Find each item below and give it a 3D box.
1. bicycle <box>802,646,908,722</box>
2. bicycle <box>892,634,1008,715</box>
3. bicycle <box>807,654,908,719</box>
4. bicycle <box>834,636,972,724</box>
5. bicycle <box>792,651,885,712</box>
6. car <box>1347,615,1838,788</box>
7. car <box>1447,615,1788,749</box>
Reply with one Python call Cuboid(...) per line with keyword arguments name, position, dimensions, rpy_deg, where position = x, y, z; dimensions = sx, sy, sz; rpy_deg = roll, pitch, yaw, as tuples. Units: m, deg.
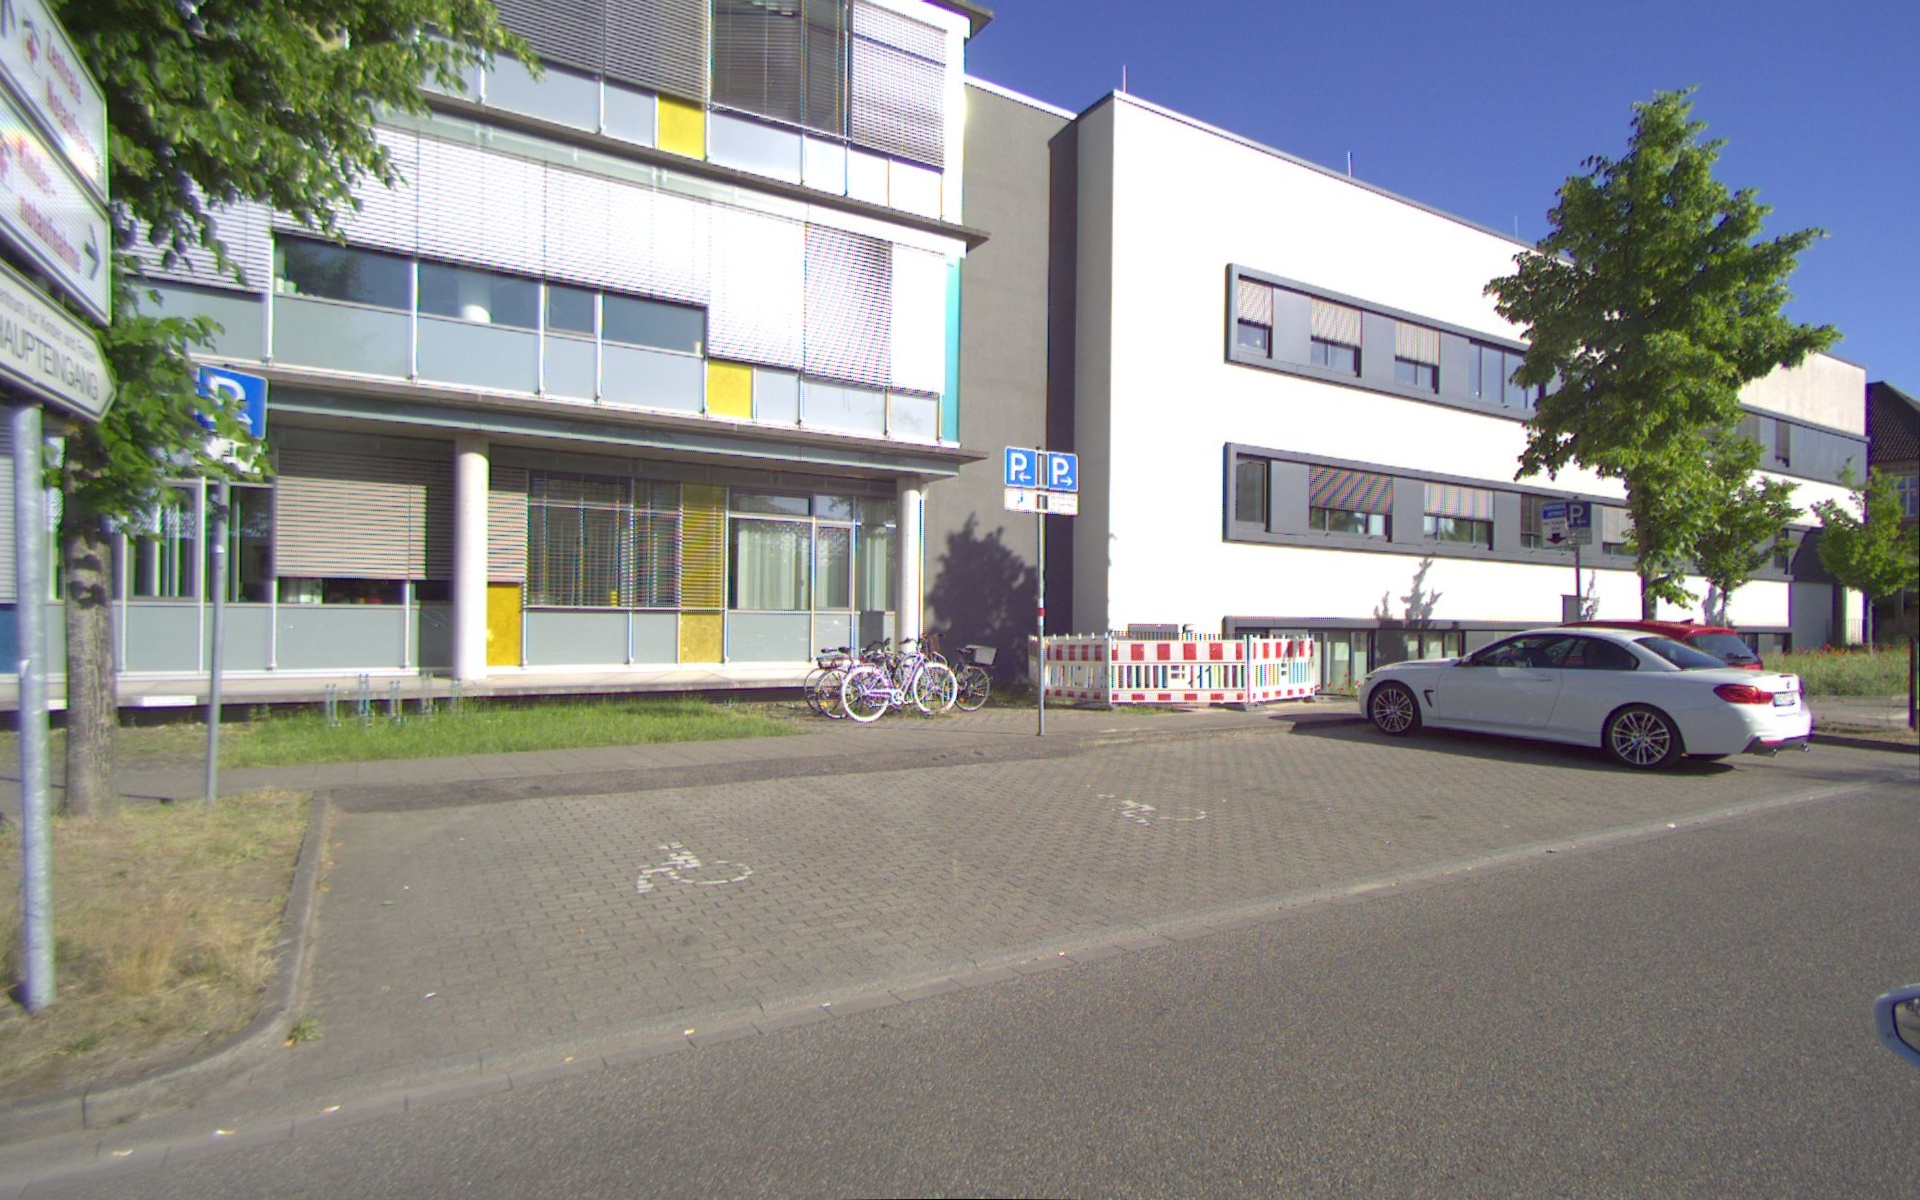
Cuboid(name="bicycle", position=(-1.442, 1.145, 13.935), dimensions=(1.433, 1.002, 0.393), rpy_deg=(1, -1, -30))
Cuboid(name="bicycle", position=(-0.135, 1.073, 14.901), dimensions=(1.743, 1.138, 0.418), rpy_deg=(1, -1, -30))
Cuboid(name="bicycle", position=(-1.473, 1.233, 14.490), dimensions=(1.433, 0.874, 0.367), rpy_deg=(1, -1, -30))
Cuboid(name="bicycle", position=(-0.766, 1.059, 13.699), dimensions=(1.838, 1.126, 0.532), rpy_deg=(1, -1, -30))
Cuboid(name="bicycle", position=(-1.859, 1.234, 15.414), dimensions=(1.433, 0.884, 0.253), rpy_deg=(1, -1, -30))
Cuboid(name="car", position=(6.955, 0.974, 11.588), dimensions=(1.682, 1.386, 4.483), rpy_deg=(1, 2, -34))
Cuboid(name="car", position=(8.858, 1.003, 13.860), dimensions=(1.593, 1.489, 3.621), rpy_deg=(0, 1, -27))
